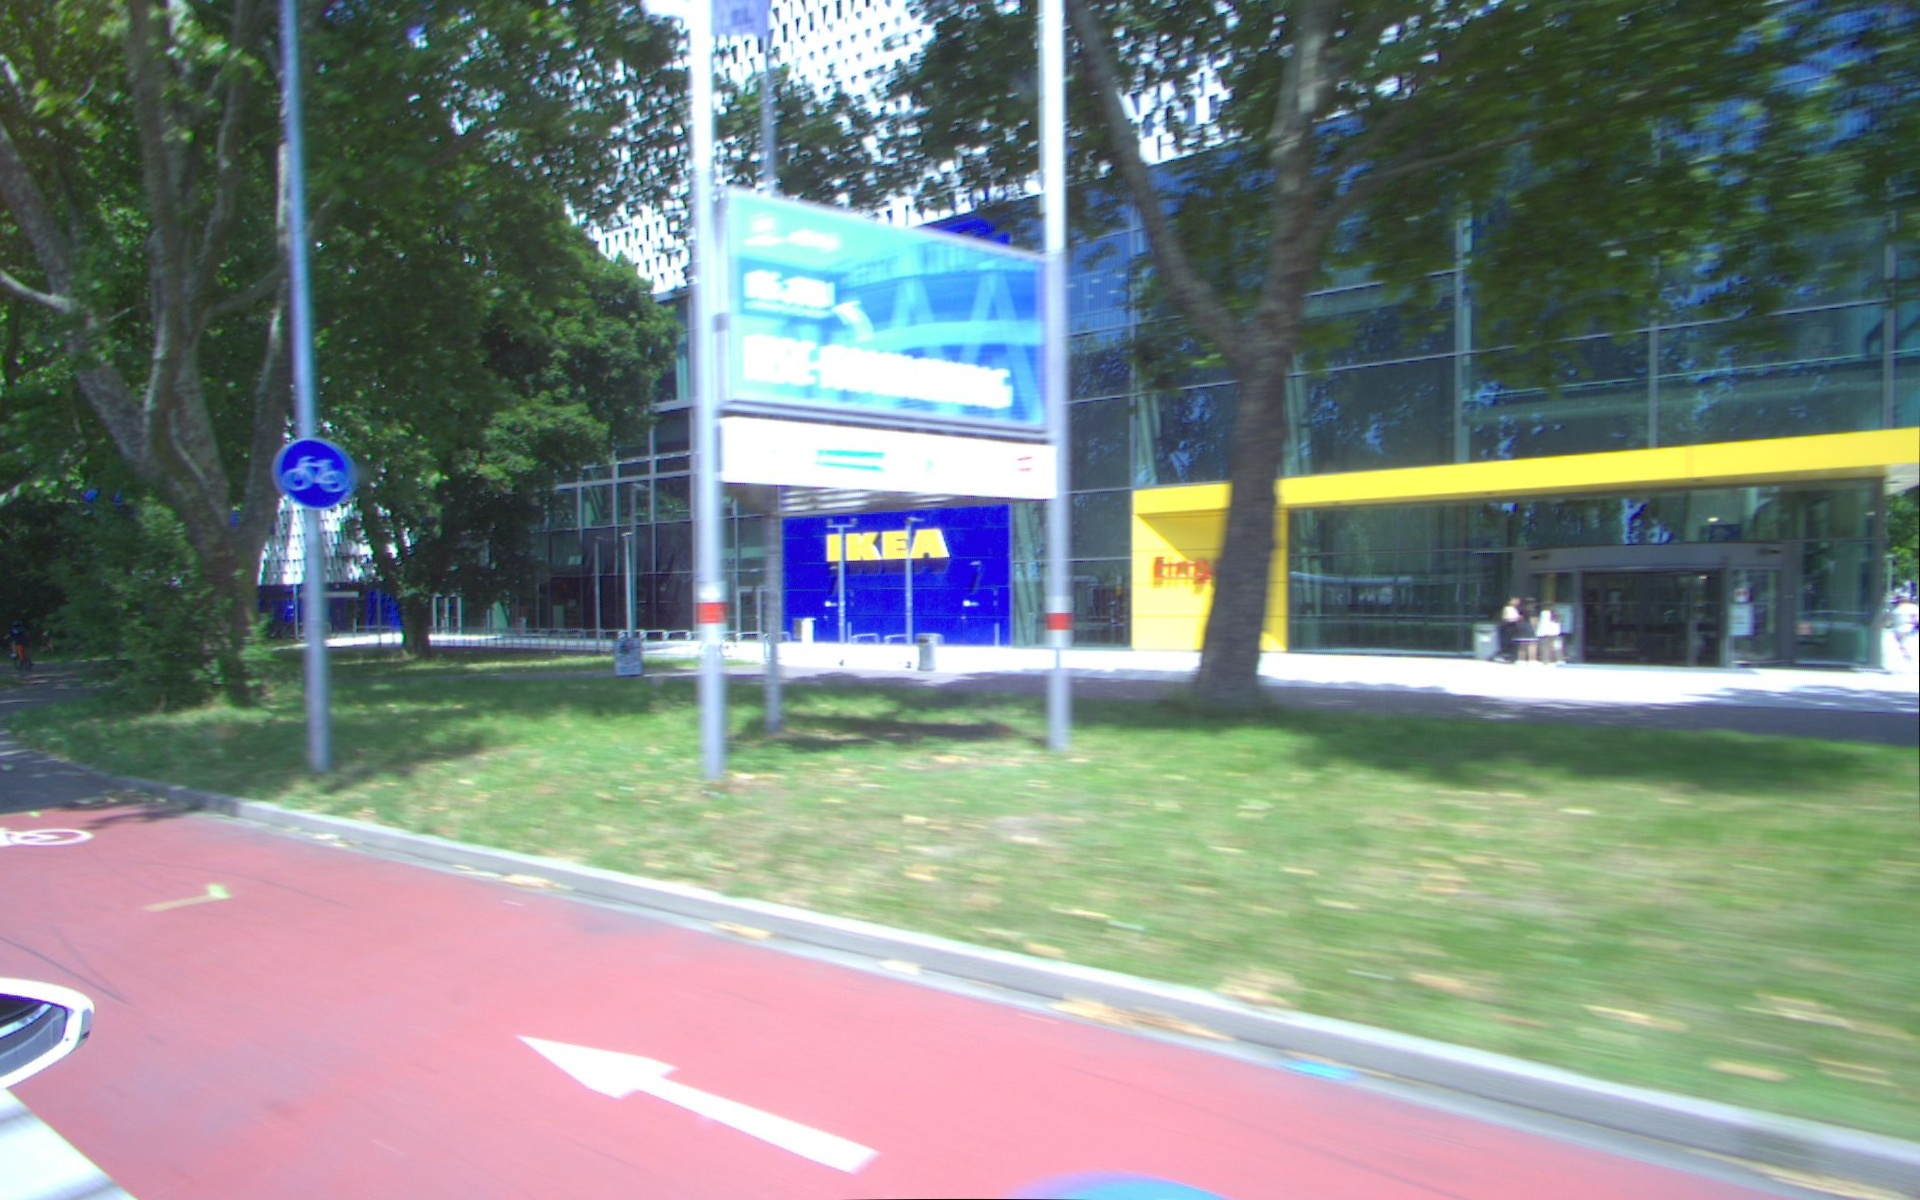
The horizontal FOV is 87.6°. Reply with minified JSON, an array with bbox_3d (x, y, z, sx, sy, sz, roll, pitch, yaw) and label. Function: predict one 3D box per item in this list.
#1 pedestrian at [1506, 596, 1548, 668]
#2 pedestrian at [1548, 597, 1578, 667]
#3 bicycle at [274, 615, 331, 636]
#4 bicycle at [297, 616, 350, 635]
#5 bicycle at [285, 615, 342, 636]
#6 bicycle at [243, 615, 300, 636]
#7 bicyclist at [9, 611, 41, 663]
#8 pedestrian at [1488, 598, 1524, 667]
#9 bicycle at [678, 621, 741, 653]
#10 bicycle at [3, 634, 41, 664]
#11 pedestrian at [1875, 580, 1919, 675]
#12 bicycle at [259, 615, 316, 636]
[{"bbox_3d":[14.174,0.787,25.037,0.733,1.758,0.776,0,0,45],"label":"pedestrian"},{"bbox_3d":[14.959,0.789,24.842,0.579,1.693,0.603,0,-1,39],"label":"pedestrian"},{"bbox_3d":[-35.622,1.384,54.280,0.747,1.125,2.543,0,-1,29],"label":"bicycle"},{"bbox_3d":[-33.831,1.350,53.223,0.747,0.973,2.314,0,-1,29],"label":"bicycle"},{"bbox_3d":[-34.674,1.366,53.733,0.747,1.125,2.543,0,-1,29],"label":"bicycle"},{"bbox_3d":[-37.843,1.410,55.094,0.747,1.125,2.543,0,-1,29],"label":"bicycle"},{"bbox_3d":[-29.912,1.172,32.031,0.806,1.631,0.620,0,0,39],"label":"bicyclist"},{"bbox_3d":[14.193,0.834,26.062,0.770,1.758,0.739,0,0,25],"label":"pedestrian"},{"bbox_3d":[-8.302,1.211,33.226,0.855,0.981,2.057,0,-1,30],"label":"bicycle"},{"bbox_3d":[-29.978,1.564,31.994,1.999,0.898,0.642,-1,0,40],"label":"bicycle"},{"bbox_3d":[20.759,0.592,21.931,0.784,2.040,0.732,0,0,11],"label":"pedestrian"},{"bbox_3d":[-36.650,1.396,54.643,0.747,1.125,2.543,0,-1,29],"label":"bicycle"}]
